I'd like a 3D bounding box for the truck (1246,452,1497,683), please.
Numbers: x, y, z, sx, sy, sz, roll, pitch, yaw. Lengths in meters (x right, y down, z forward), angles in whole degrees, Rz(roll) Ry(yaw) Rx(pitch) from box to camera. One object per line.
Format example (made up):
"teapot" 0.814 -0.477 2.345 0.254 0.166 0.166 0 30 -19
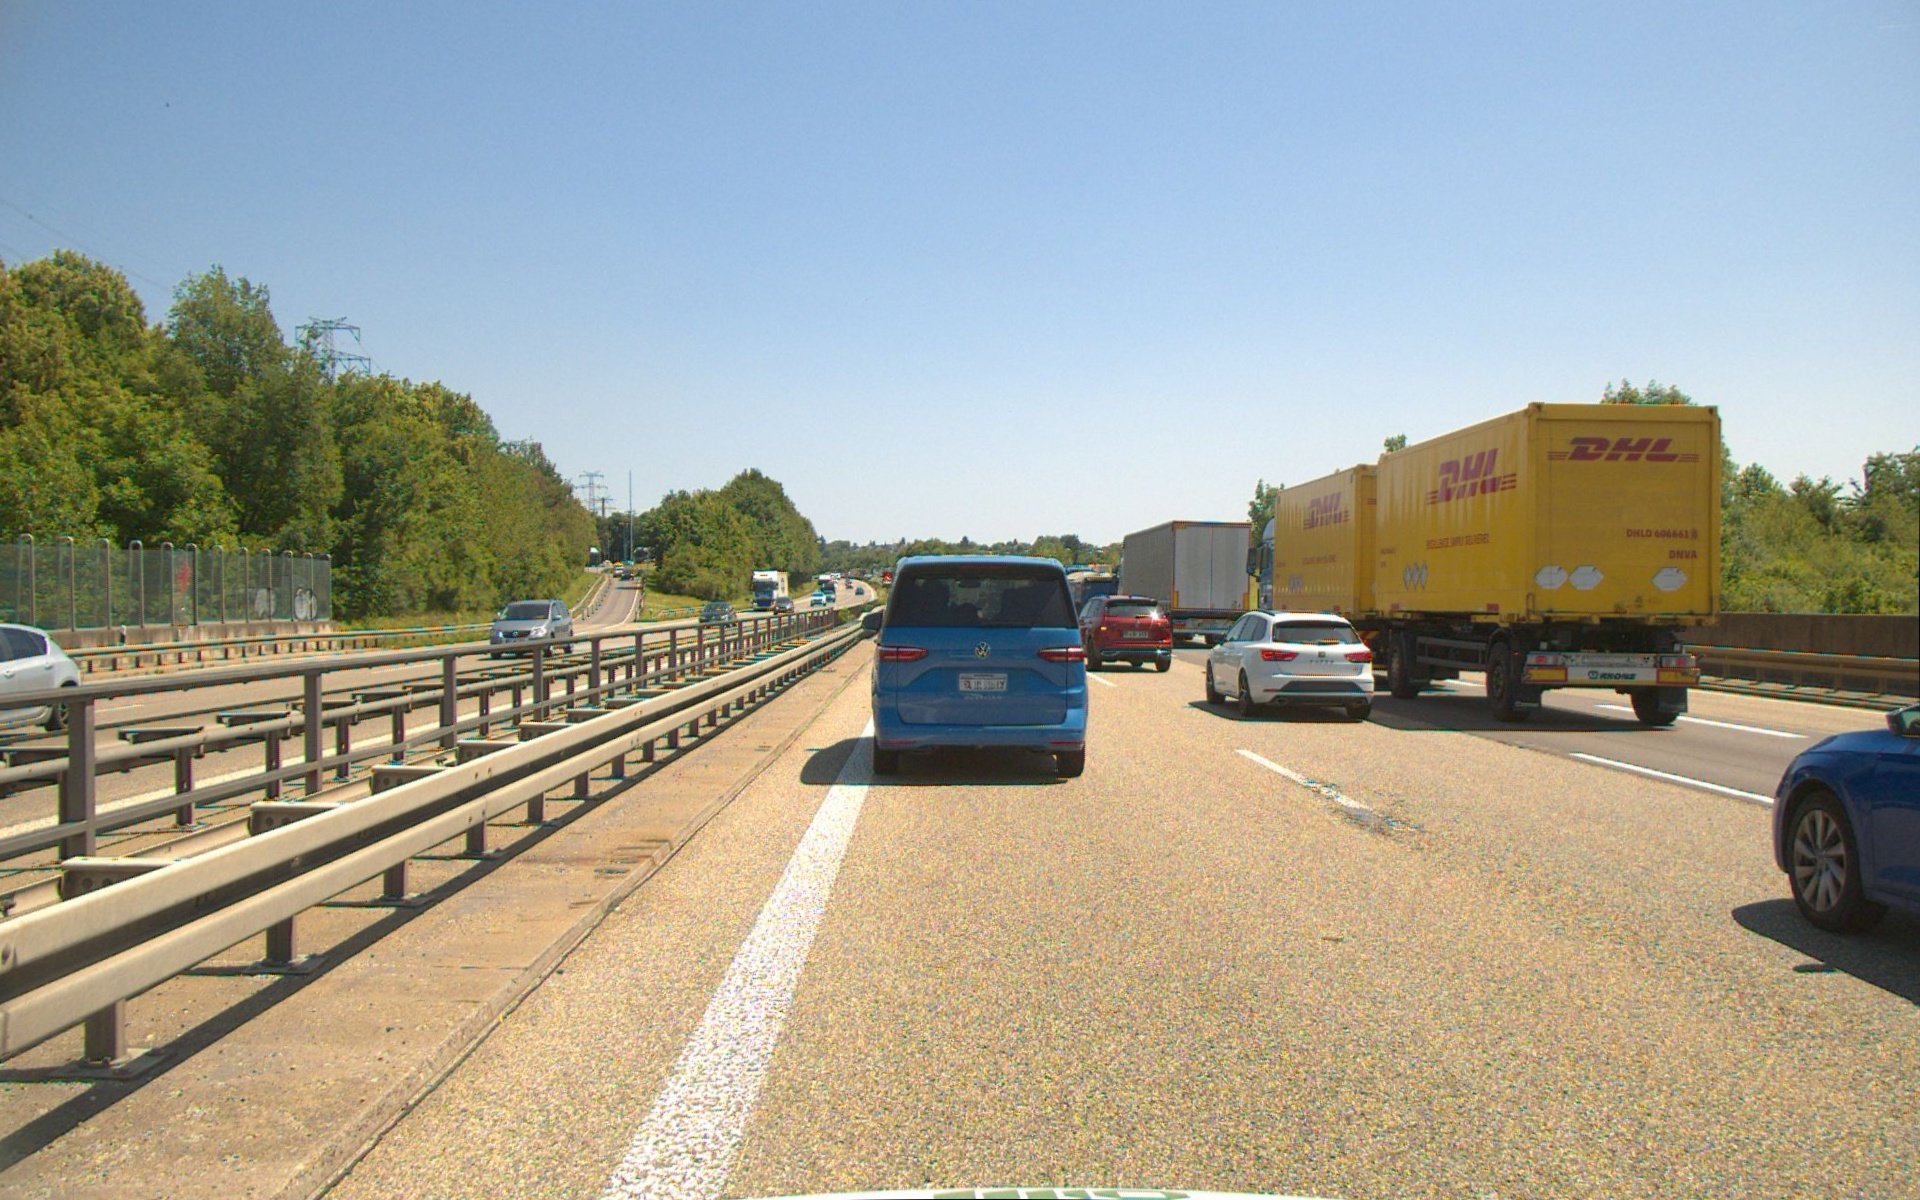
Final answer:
"truck" 8.338 -0.536 35.085 2.666 4.125 10.335 1 -1 0

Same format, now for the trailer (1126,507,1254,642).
"trailer" 7.872 -0.754 58.146 2.699 4.219 11.309 1 -1 -1

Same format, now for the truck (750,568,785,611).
"truck" -20.015 -1.107 172.386 2.928 4.354 7.187 -1 0 -1

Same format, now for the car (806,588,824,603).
"car" -17.743 -0.582 202.490 1.883 1.718 4.120 -2 0 -1

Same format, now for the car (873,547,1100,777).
"car" 0.201 0.508 15.502 1.844 1.869 3.999 0 0 -1

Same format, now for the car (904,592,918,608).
"car" -6.460 -0.005 216.904 1.704 1.944 3.680 1 -1 -1

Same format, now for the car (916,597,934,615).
"car" -3.998 0.681 188.287 1.953 2.049 3.999 1 -1 -1

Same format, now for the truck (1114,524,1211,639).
"truck" 7.768 -0.673 64.265 2.712 4.167 6.982 1 0 -1

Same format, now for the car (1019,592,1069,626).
"car" 3.576 0.373 71.005 1.801 1.438 3.998 0 0 -2

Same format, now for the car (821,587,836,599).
"car" -19.091 -1.019 240.604 1.883 1.718 4.120 -2 0 -1

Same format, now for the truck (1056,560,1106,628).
"truck" 7.045 -0.317 96.747 2.320 3.787 6.031 1 -1 -1

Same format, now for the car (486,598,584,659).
"car" -12.490 0.800 48.815 1.793 1.637 4.168 -3 0 -1

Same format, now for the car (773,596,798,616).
"car" -15.243 0.499 144.415 1.792 1.637 4.168 -1 0 -1

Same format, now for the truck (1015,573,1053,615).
"truck" 6.038 -0.463 135.690 2.308 3.275 9.736 1 -1 -2

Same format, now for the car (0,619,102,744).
"car" -12.245 1.022 19.872 1.680 1.459 4.175 -3 0 -1

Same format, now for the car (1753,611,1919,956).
"car" 4.962 0.799 6.317 1.675 1.465 4.499 1 0 -1

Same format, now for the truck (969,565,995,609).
"truck" 2.858 -1.636 216.610 2.776 5.467 12.549 1 -1 -2

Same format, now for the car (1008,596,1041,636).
"car" 3.347 0.829 86.304 1.551 2.049 3.492 1 -1 -1

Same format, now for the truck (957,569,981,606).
"truck" 1.281 -1.762 242.401 2.776 5.128 12.907 1 -1 -2

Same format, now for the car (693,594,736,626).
"car" -13.604 0.554 91.756 1.792 1.637 4.168 -2 0 -1

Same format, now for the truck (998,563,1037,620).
"truck" 5.325 -0.744 155.158 2.776 5.128 11.141 1 -1 -2

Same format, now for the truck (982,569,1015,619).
"truck" 4.104 -0.551 178.297 2.776 5.128 11.811 1 -1 -2

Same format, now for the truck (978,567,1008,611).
"truck" 3.953 -1.235 198.404 2.776 4.971 13.214 1 -1 -2

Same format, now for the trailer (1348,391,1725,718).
"trailer" 8.357 -0.540 25.436 2.646 4.094 8.929 1 -1 0

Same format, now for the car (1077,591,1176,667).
"car" 3.726 0.624 37.552 1.813 1.636 3.999 0 0 -1

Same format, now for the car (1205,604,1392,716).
"car" 4.670 0.781 23.406 1.745 1.411 4.187 0 0 -1

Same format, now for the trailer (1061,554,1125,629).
"trailer" 7.199 -0.381 90.755 2.331 3.810 11.185 1 -1 -1

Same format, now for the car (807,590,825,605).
"car" -17.538 -0.348 201.868 1.883 1.718 4.120 -2 0 -1
